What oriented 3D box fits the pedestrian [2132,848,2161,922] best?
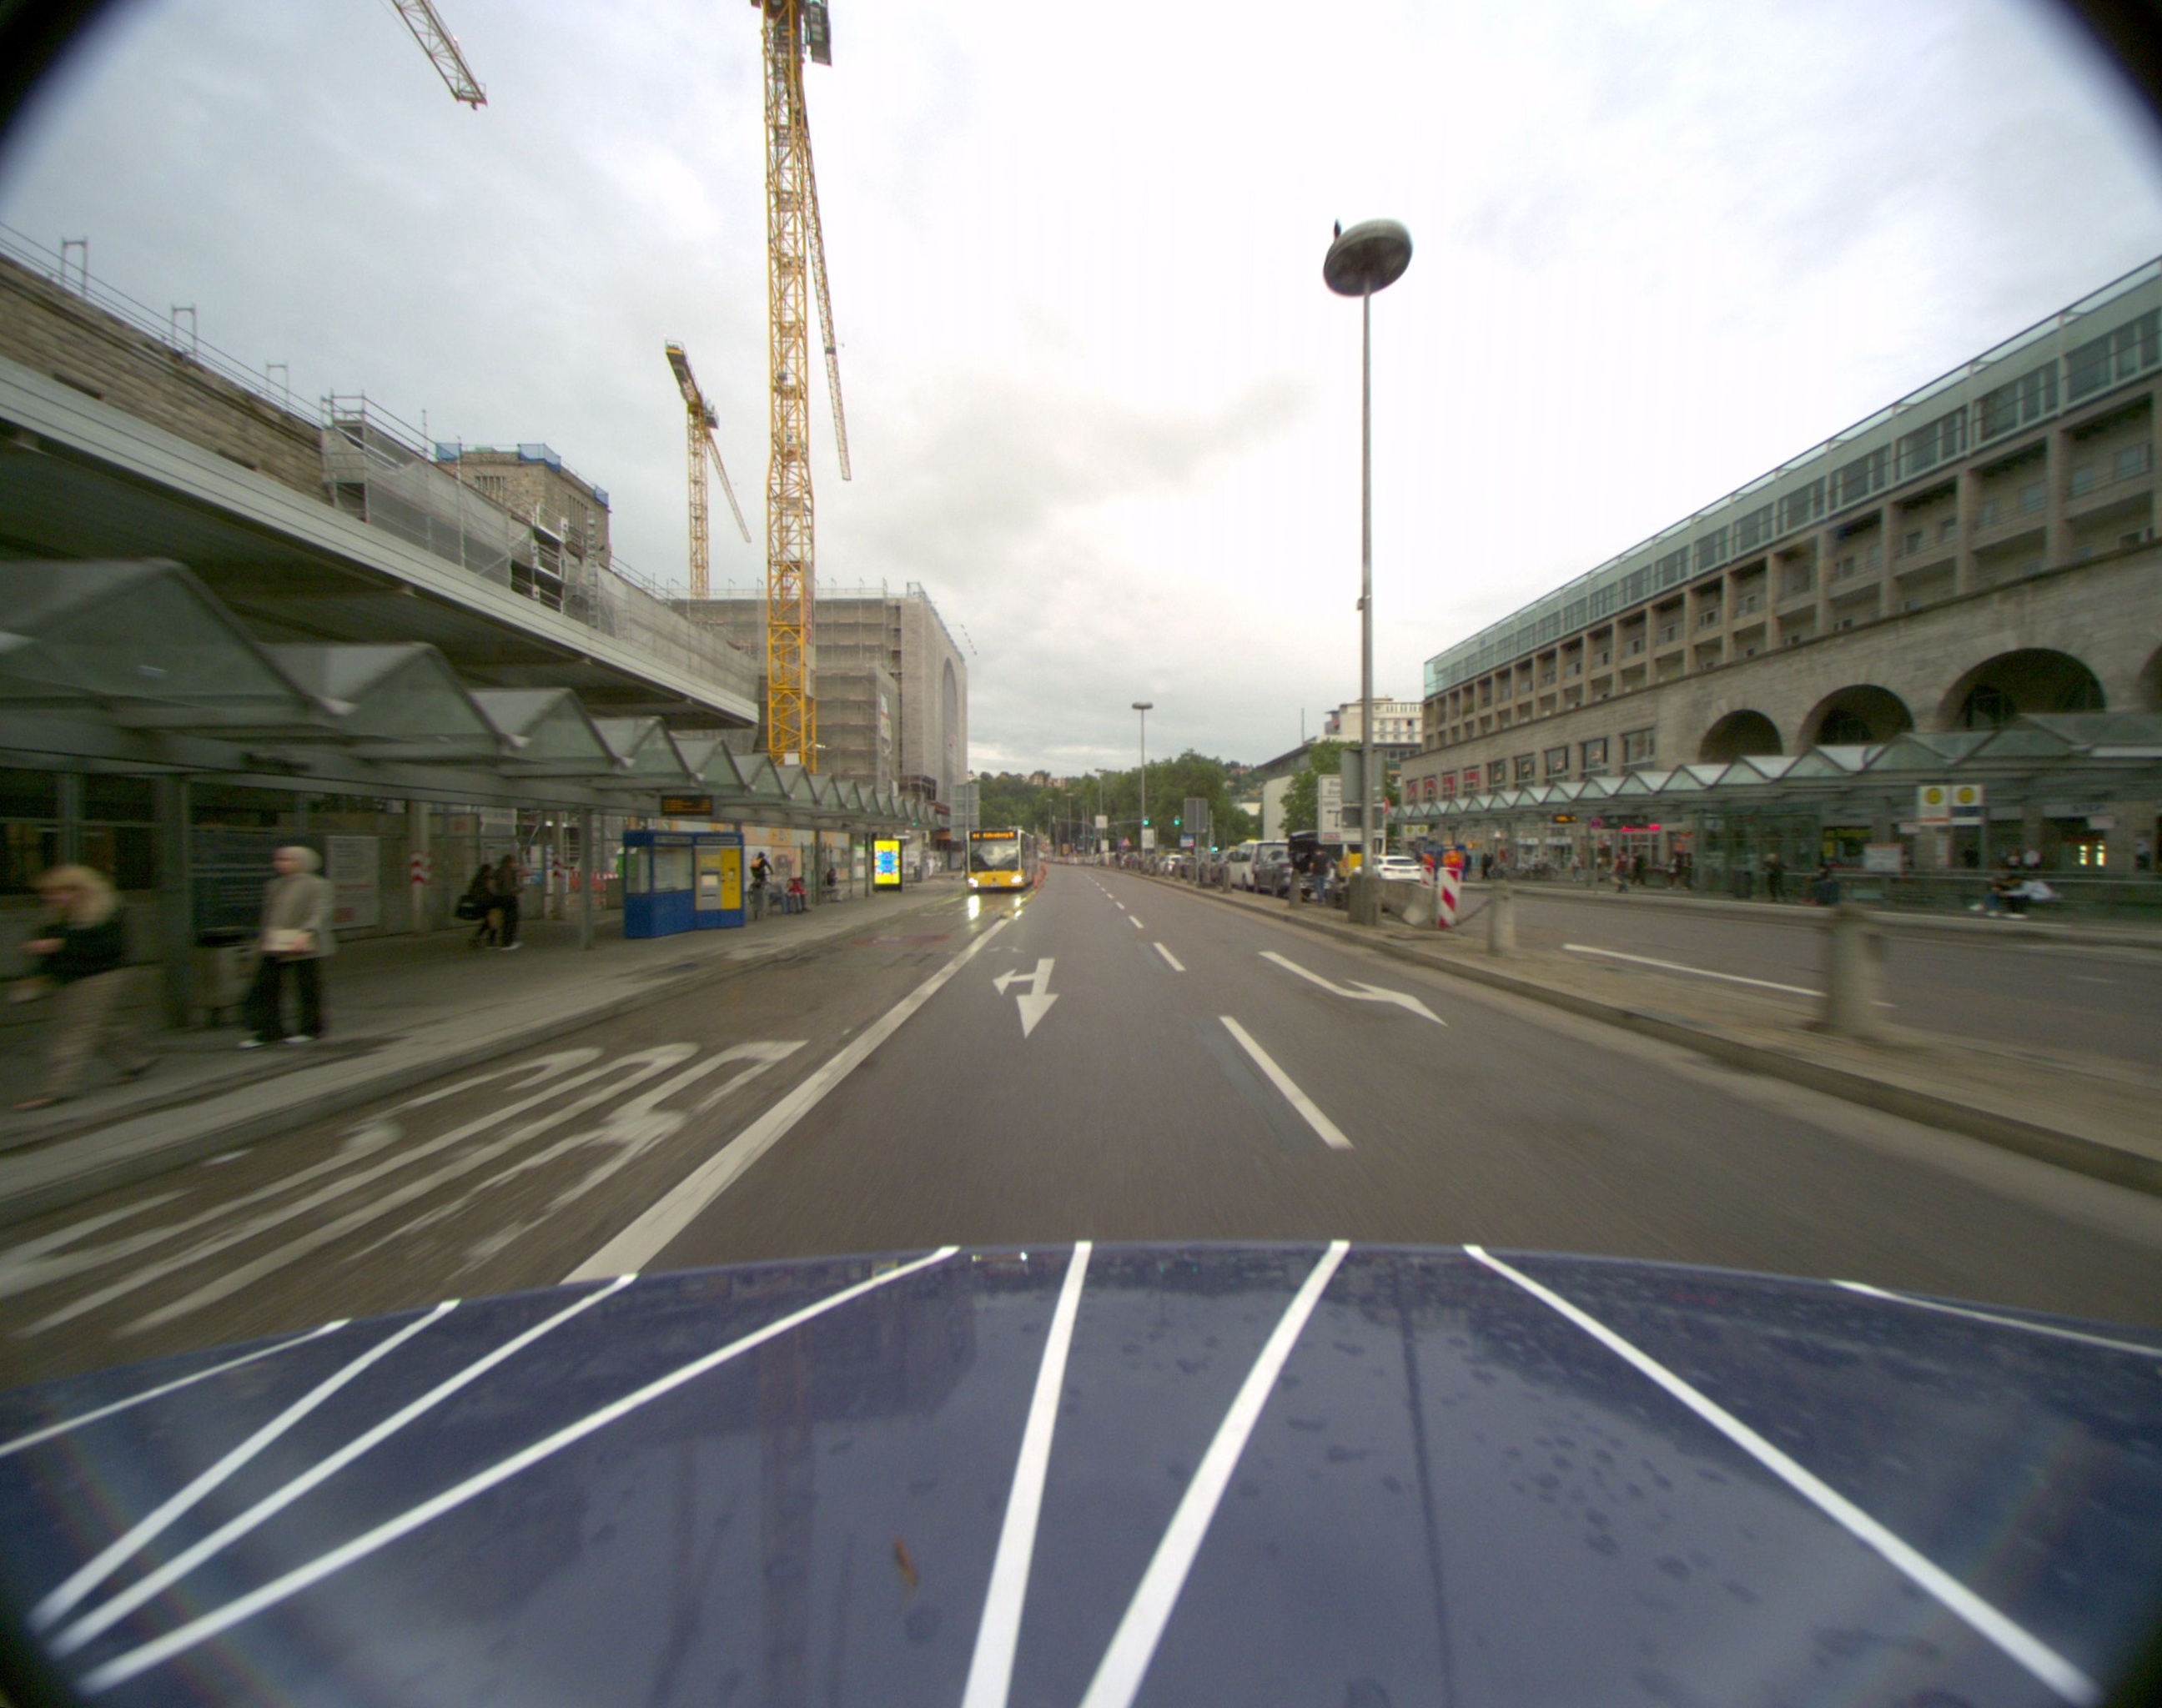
[{"bbox_3d":[31.317,0.878,21.863,0.770,2.114,0.979,0,1,8],"label":"pedestrian"}]

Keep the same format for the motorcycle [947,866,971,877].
[{"bbox_3d":[-8.586,1.214,53.384,1.533,0.750,0.587,-2,0,-26],"label":"motorcycle"}]

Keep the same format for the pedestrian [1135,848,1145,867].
[{"bbox_3d":[5.169,0.334,66.552,0.724,1.597,0.996,-2,0,-2],"label":"pedestrian"}]

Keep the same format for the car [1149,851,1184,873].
[{"bbox_3d":[6.620,0.605,59.259,1.935,1.567,5.010,1,0,-2],"label":"car"}]

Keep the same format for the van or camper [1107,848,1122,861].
[{"bbox_3d":[7.106,0.091,160.730,2.000,2.499,5.366,2,0,-8],"label":"van or camper"}]

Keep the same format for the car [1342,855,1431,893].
[{"bbox_3d":[13.746,0.874,34.505,1.967,1.555,4.835,2,0,-1],"label":"car"}]

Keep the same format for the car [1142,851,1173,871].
[{"bbox_3d":[6.509,0.576,65.523,1.935,1.567,5.259,1,0,-2],"label":"car"}]

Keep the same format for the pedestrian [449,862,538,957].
[{"bbox_3d":[-10.282,0.951,13.326,0.908,1.597,0.745,-2,0,0],"label":"pedestrian"}]

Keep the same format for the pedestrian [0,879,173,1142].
[{"bbox_3d":[-6.595,0.956,4.924,0.522,1.557,0.729,0,0,-1],"label":"pedestrian"}]

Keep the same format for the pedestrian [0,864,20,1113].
[{"bbox_3d":[-7.600,0.902,4.722,0.810,1.650,0.804,-2,0,0],"label":"pedestrian"}]

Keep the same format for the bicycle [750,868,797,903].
[{"bbox_3d":[-11.148,1.115,27.643,0.817,1.191,2.405,0,0,-2],"label":"bicycle"}]

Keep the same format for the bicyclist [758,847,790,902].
[{"bbox_3d":[-11.142,0.728,27.598,0.825,1.970,0.818,0,0,-2],"label":"bicyclist"}]

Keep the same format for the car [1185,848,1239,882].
[{"bbox_3d":[6.995,0.555,41.090,1.935,1.689,4.884,1,0,-1],"label":"car"}]

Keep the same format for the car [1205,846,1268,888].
[{"bbox_3d":[7.253,0.568,35.877,1.934,1.796,4.581,1,0,0],"label":"car"}]

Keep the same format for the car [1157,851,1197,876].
[{"bbox_3d":[6.642,0.606,53.107,1.982,1.649,5.191,1,0,-2],"label":"car"}]

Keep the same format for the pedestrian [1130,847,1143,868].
[{"bbox_3d":[4.747,0.312,65.240,1.053,1.758,0.616,-1,1,-2],"label":"pedestrian"}]

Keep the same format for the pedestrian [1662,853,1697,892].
[{"bbox_3d":[26.215,0.791,33.288,0.758,1.645,0.894,-2,0,1],"label":"pedestrian"}]

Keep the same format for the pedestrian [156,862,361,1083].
[{"bbox_3d":[-6.681,0.910,6.228,0.764,1.683,0.822,0,0,-1],"label":"pedestrian"}]

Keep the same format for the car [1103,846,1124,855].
[{"bbox_3d":[7.625,-0.807,177.300,4.830,2.001,2.036,-2,0,0],"label":"car"}]

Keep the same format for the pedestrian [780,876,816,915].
[{"bbox_3d":[-8.106,1.175,21.762,0.729,1.059,0.808,0,0,0],"label":"pedestrian"}]

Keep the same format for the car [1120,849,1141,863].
[{"bbox_3d":[5.864,0.232,89.802,2.020,1.611,4.841,0,0,-1],"label":"car"}]

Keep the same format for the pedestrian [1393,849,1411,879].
[{"bbox_3d":[18.992,0.572,44.938,0.625,1.715,0.856,-2,0,0],"label":"pedestrian"}]

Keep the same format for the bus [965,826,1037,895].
[{"bbox_3d":[-3.899,0.249,38.882,2.762,3.048,8.991,-2,1,-1],"label":"bus"}]

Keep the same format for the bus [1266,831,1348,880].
[{"bbox_3d":[16.929,0.110,57.856,2.885,3.356,10.572,0,0,-1],"label":"bus"}]

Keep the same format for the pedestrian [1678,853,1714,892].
[{"bbox_3d":[26.192,0.782,32.384,0.758,1.645,0.894,-2,0,1],"label":"pedestrian"}]

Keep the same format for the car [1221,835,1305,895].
[{"bbox_3d":[7.124,0.410,30.338,1.999,2.166,5.544,0,0,0],"label":"car"}]

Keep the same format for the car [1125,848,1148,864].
[{"bbox_3d":[6.023,0.240,83.252,1.935,1.681,4.681,1,0,-2],"label":"car"}]

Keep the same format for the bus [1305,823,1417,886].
[{"bbox_3d":[17.077,0.026,47.398,2.885,3.439,10.572,-1,0,-1],"label":"bus"}]

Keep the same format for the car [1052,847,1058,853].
[{"bbox_3d":[-7.530,-1.118,218.481,1.682,1.533,3.173,0,-1,-1],"label":"car"}]

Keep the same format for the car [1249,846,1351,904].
[{"bbox_3d":[6.977,0.612,24.780,1.998,1.712,4.782,0,0,0],"label":"car"}]

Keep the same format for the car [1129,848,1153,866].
[{"bbox_3d":[6.193,0.289,78.366,1.935,1.681,4.681,1,0,-2],"label":"car"}]

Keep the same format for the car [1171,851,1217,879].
[{"bbox_3d":[6.940,0.625,47.162,1.935,1.567,5.050,1,0,-2],"label":"car"}]

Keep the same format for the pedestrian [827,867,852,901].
[{"bbox_3d":[-8.591,1.074,27.045,0.666,1.180,0.666,0,0,0],"label":"pedestrian"}]

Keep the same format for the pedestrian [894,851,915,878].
[{"bbox_3d":[-10.505,0.617,45.207,0.907,1.625,0.829,0,1,26],"label":"pedestrian"}]

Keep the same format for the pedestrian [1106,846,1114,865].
[{"bbox_3d":[3.110,0.201,82.131,0.725,1.996,0.772,-2,0,-2],"label":"pedestrian"}]

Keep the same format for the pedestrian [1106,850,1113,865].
[{"bbox_3d":[3.378,0.426,89.718,0.653,1.701,0.593,-2,0,-3],"label":"pedestrian"}]

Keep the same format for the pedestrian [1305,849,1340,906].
[{"bbox_3d":[6.983,0.672,22.013,0.762,1.643,0.763,0,0,0],"label":"pedestrian"}]

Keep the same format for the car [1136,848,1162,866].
[{"bbox_3d":[6.498,0.286,73.270,1.935,1.681,4.681,1,0,-2],"label":"car"}]

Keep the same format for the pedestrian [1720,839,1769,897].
[{"bbox_3d":[23.308,0.481,26.712,0.844,2.002,0.960,0,0,-1],"label":"pedestrian"}]

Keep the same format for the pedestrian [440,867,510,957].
[{"bbox_3d":[-11.161,1.055,14.009,0.708,1.598,0.729,0,0,-3],"label":"pedestrian"}]

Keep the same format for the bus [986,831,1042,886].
[{"bbox_3d":[-4.032,0.206,47.937,2.762,3.051,9.078,-2,1,-1],"label":"bus"}]

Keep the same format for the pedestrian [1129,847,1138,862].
[{"bbox_3d":[6.284,0.077,91.159,0.784,1.765,0.606,2,0,-13],"label":"pedestrian"}]

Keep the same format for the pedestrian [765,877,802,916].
[{"bbox_3d":[-8.161,1.159,20.884,0.729,1.059,0.709,0,0,0],"label":"pedestrian"}]

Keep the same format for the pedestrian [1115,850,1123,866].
[{"bbox_3d":[4.073,0.448,81.435,0.700,1.744,0.711,-1,0,-2],"label":"pedestrian"}]
